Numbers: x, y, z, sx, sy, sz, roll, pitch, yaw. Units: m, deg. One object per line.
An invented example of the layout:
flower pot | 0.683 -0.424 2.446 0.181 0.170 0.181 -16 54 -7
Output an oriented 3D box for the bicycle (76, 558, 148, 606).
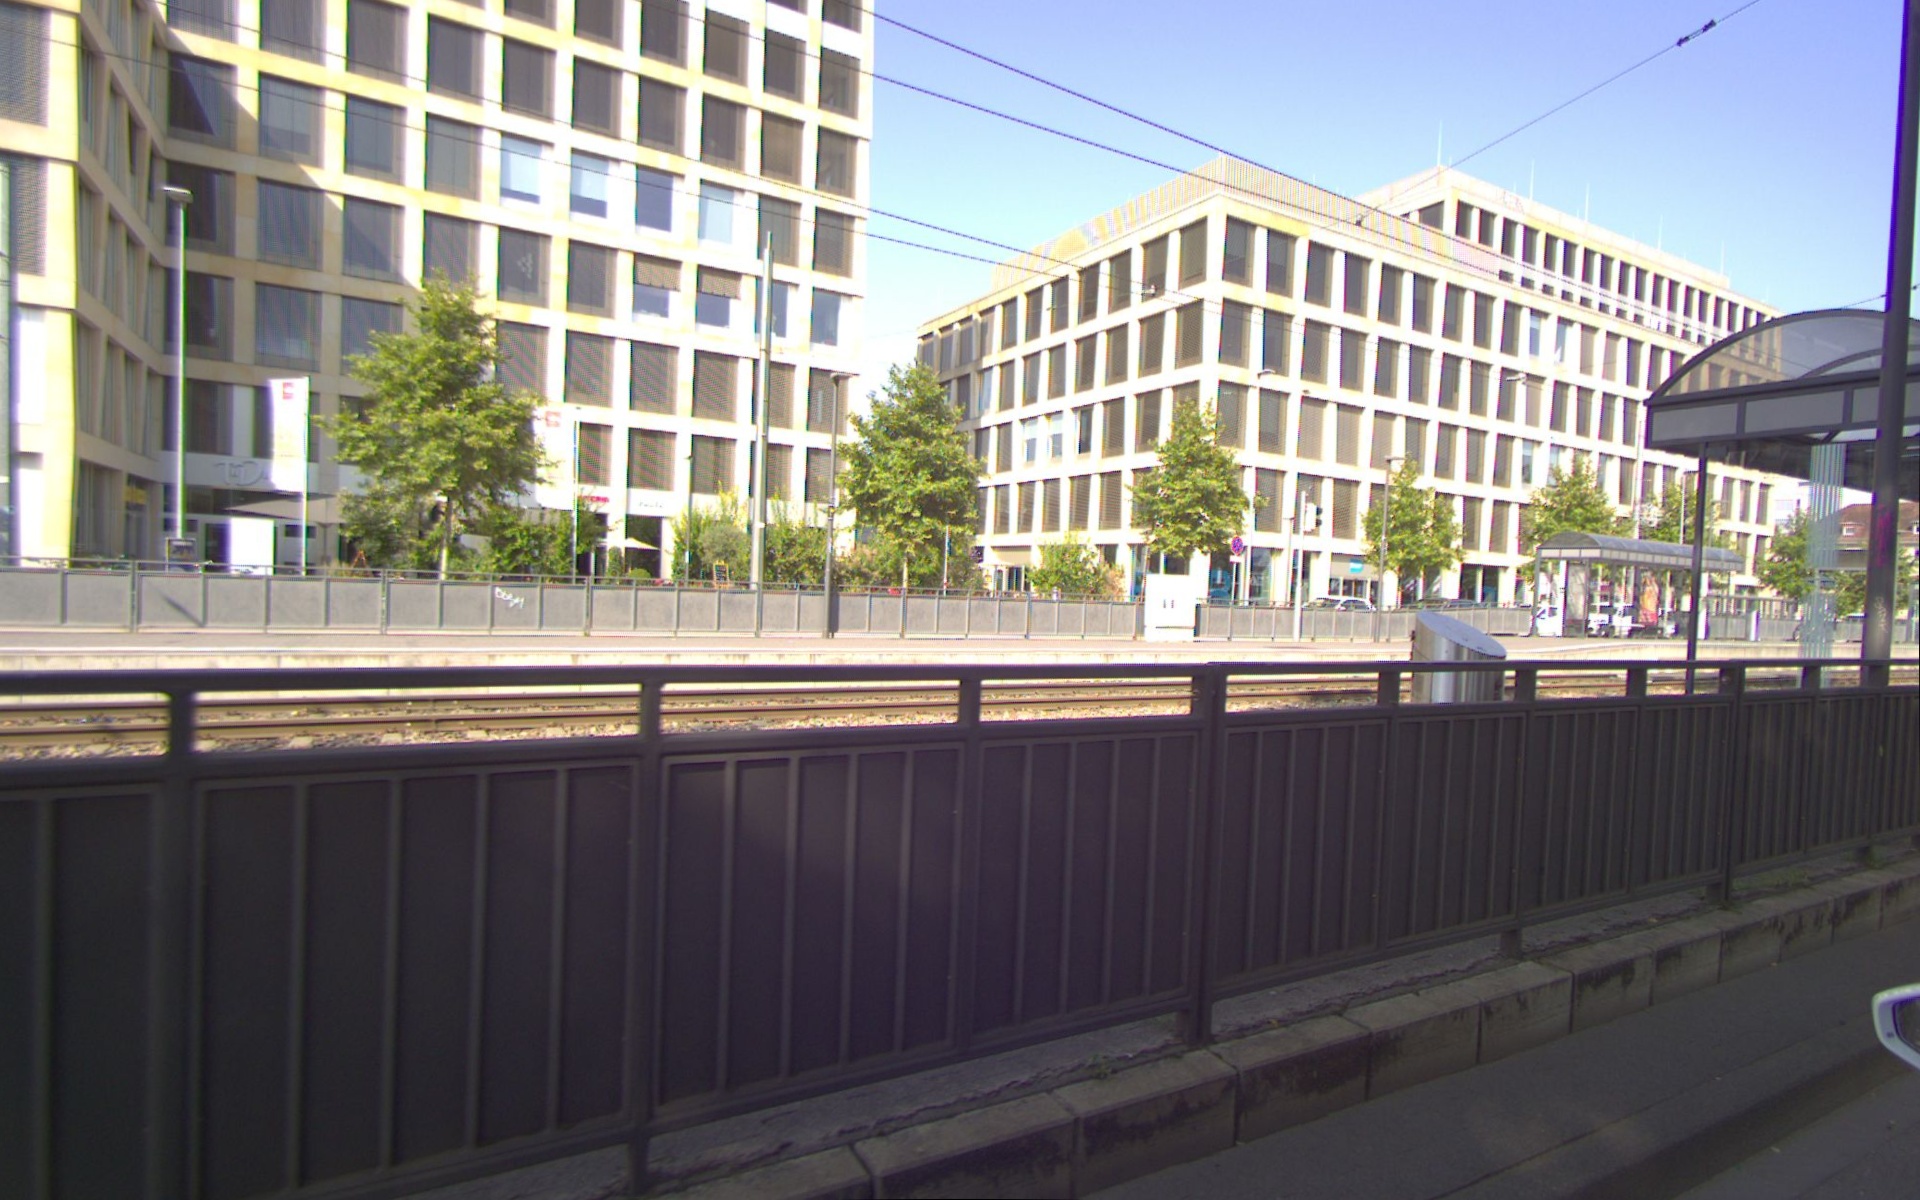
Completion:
bicycle | -18.813 -0.410 22.338 0.812 0.999 2.421 1 1 -30

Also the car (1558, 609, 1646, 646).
car | 29.223 1.266 45.694 4.173 1.571 1.634 2 1 -30

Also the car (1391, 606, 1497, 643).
car | 18.899 0.962 39.164 4.173 1.270 1.634 2 1 -30

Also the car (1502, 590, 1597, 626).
car | 25.398 0.335 43.247 4.173 1.395 1.634 2 1 -30

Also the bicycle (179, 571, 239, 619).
bicycle | -17.144 -0.134 22.968 0.812 0.999 2.421 1 1 -30

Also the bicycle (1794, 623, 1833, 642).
bicycle | 32.160 1.240 37.841 1.592 0.671 0.475 2 1 -26

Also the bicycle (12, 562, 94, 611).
bicycle | -19.571 -0.311 21.726 0.812 0.999 2.421 1 1 -30

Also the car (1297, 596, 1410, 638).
car | 14.633 0.645 37.322 4.173 1.395 1.634 2 1 -30
